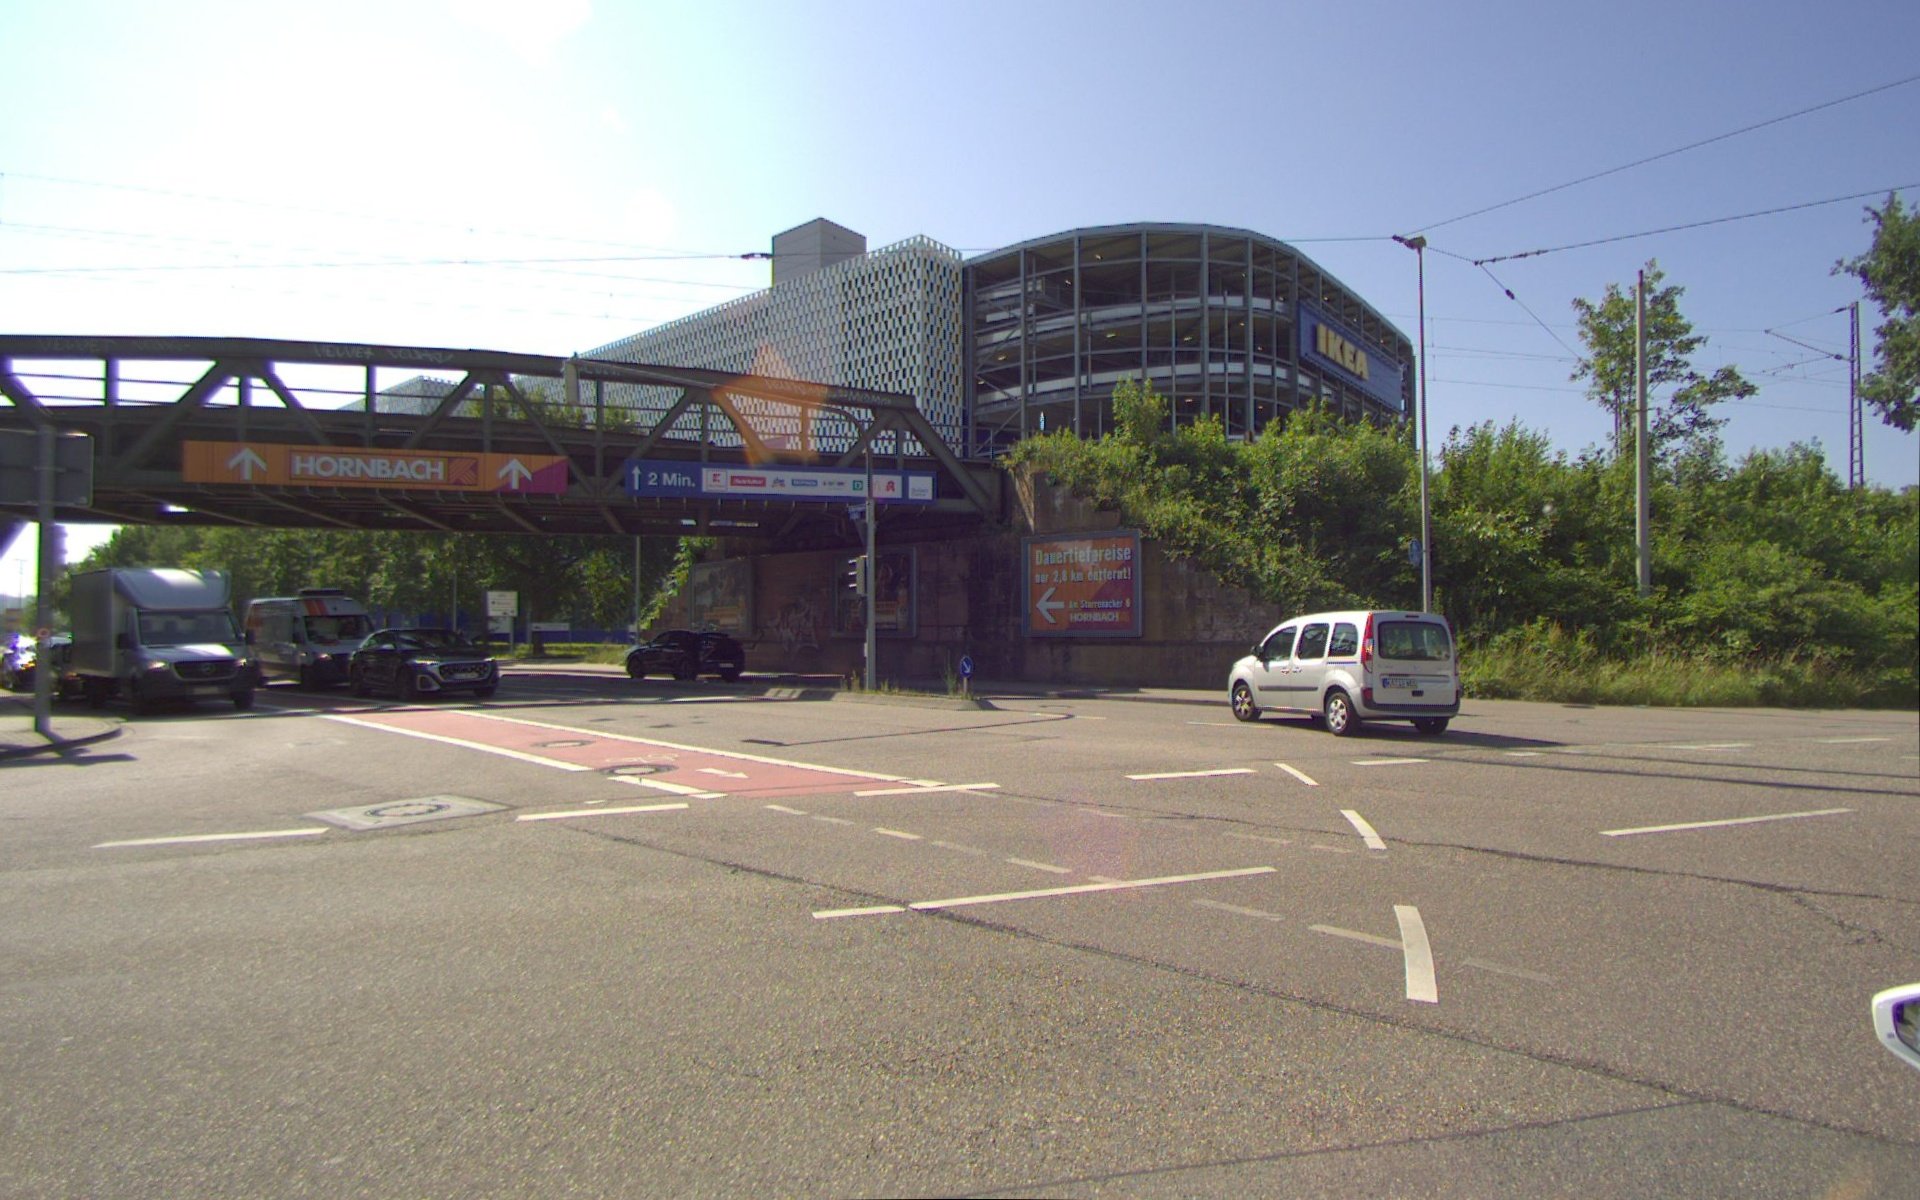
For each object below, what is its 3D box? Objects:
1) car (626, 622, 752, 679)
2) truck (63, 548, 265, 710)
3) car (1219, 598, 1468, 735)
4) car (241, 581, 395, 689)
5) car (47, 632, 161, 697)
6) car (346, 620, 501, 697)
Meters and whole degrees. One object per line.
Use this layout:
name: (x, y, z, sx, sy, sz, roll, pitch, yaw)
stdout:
car: (-8.553, 1.543, 31.531, 4.170, 1.684, 1.926, -2, -2, 43)
truck: (-17.941, 0.679, 22.479, 6.762, 3.146, 2.208, -2, -2, 40)
car: (5.858, 1.007, 15.907, 1.761, 1.862, 3.991, 1, -2, -13)
car: (-18.770, 0.991, 29.222, 6.109, 2.850, 2.164, -1, -2, 41)
car: (-22.949, 1.653, 26.886, 4.178, 1.408, 1.880, 2, 1, 43)
car: (-12.711, 1.348, 23.717, 3.940, 1.668, 1.896, -2, -2, 39)
